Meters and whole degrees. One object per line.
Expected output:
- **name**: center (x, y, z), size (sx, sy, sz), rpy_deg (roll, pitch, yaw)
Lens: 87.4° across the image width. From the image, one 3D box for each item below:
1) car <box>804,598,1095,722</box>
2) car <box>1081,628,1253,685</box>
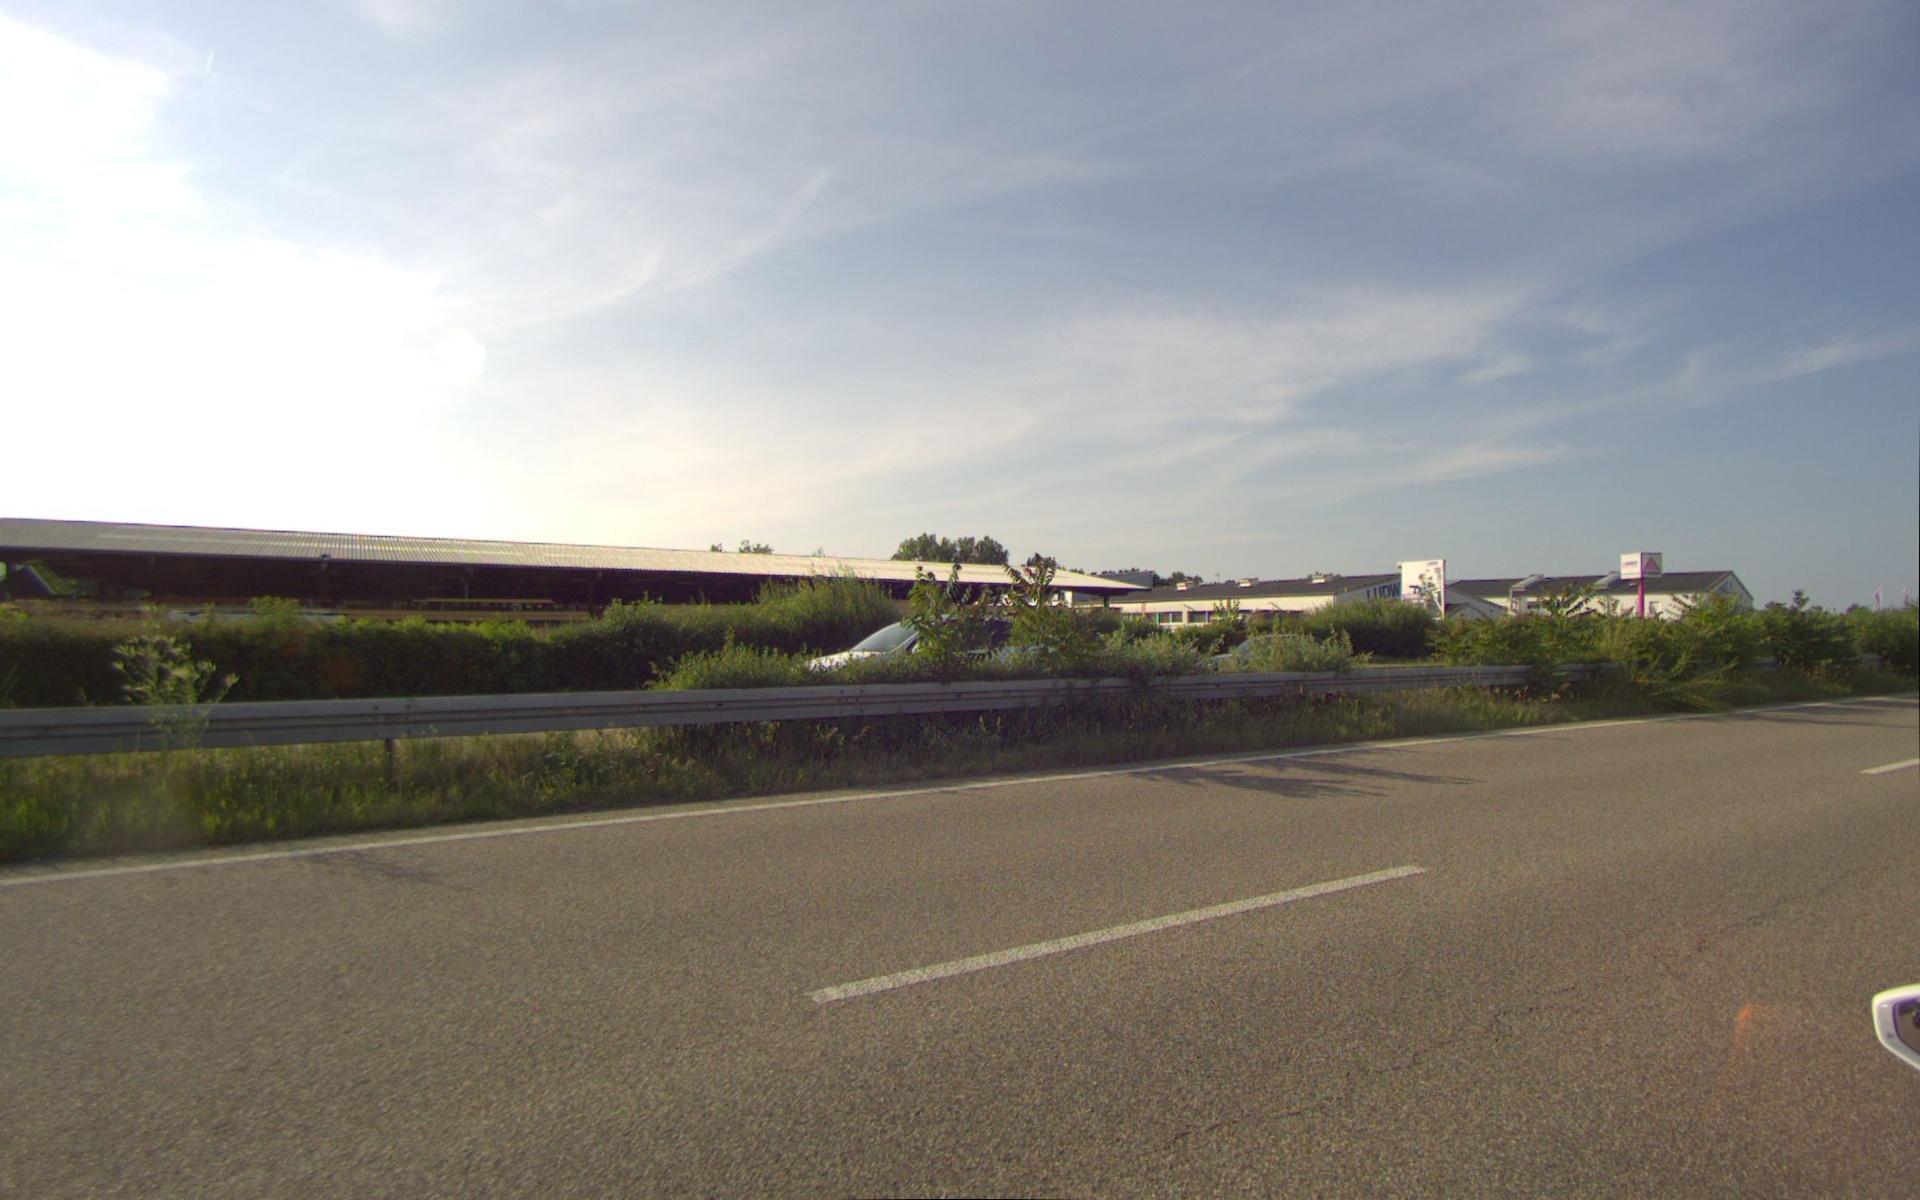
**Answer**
- **car**: center (-0.112, 0.859, 15.115), size (3.957, 1.634, 1.918), rpy_deg (2, -1, -33)
- **car**: center (4.792, 1.302, 23.155), size (3.745, 1.173, 1.733), rpy_deg (2, -1, -33)
